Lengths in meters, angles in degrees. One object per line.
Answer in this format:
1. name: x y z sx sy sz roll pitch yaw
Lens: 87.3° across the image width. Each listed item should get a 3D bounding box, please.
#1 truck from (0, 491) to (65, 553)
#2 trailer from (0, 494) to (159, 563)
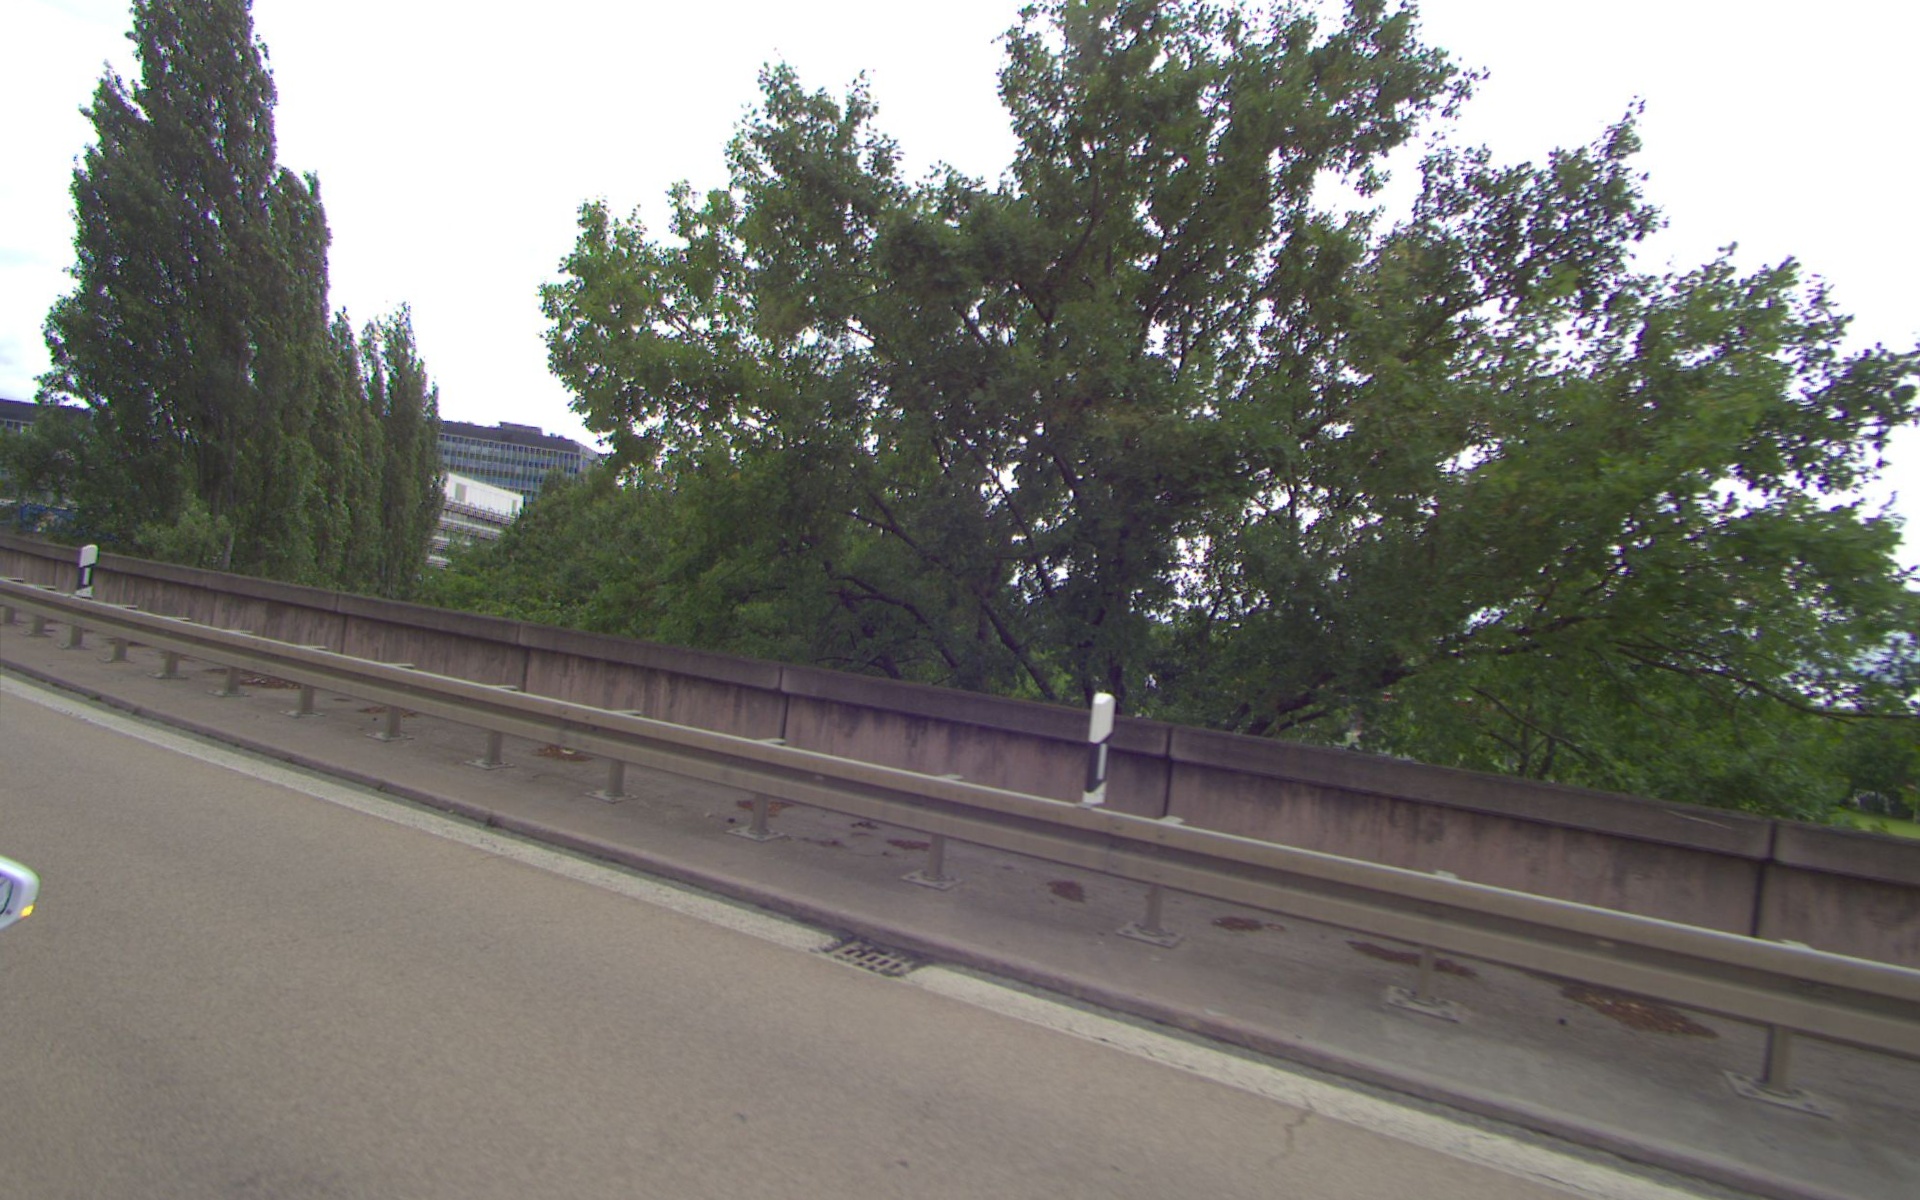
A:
1. truck: -77.769 -6.446 82.550 3.112 4.397 5.699 6 -2 0
2. trailer: -77.793 -6.124 89.217 3.112 4.396 12.529 6 -3 0
